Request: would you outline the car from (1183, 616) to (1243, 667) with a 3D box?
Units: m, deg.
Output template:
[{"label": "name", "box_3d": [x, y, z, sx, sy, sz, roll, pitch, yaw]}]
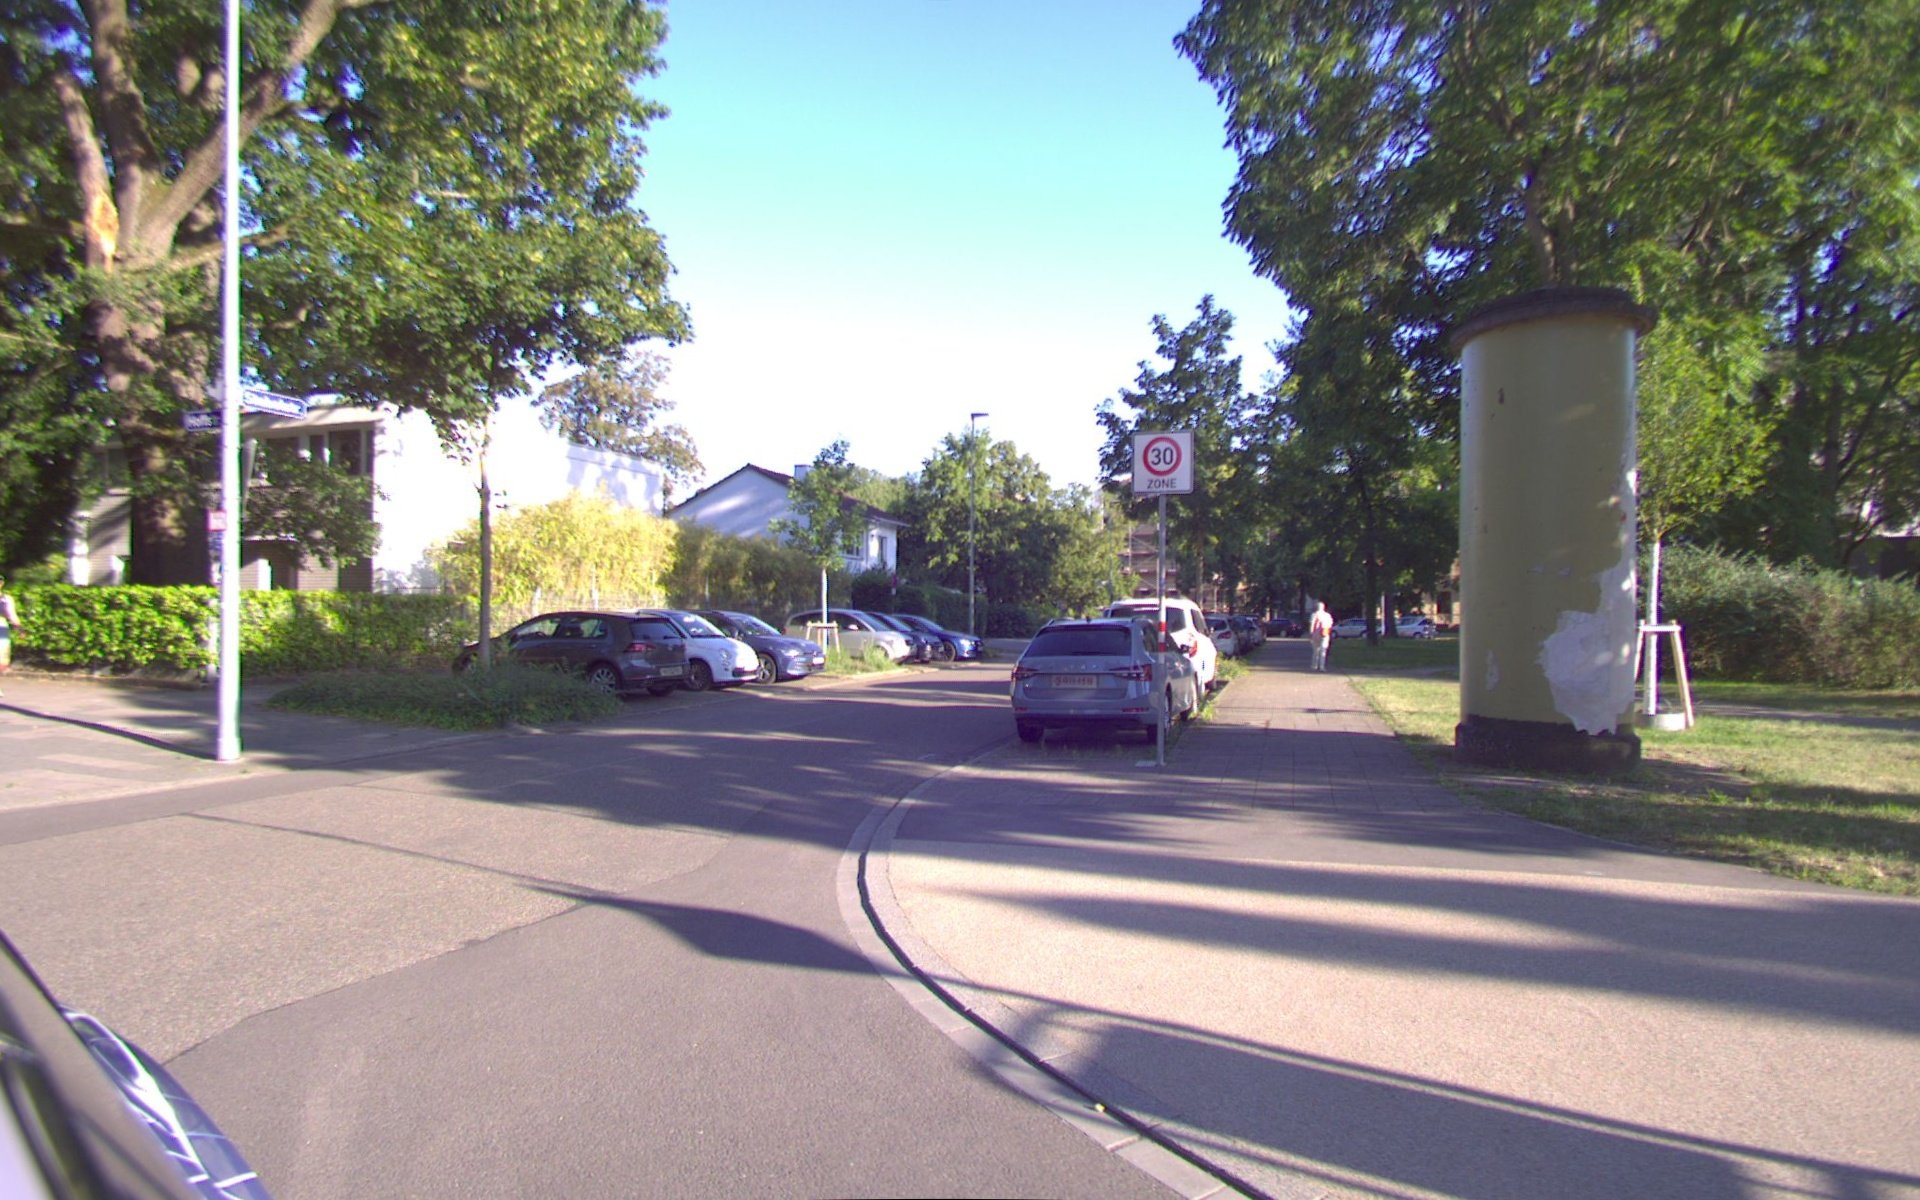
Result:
[{"label": "car", "box_3d": [8.143, 1.284, 32.419, 1.703, 1.520, 3.291, 0, -1, 17]}]

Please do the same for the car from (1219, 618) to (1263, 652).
[{"label": "car", "box_3d": [13.158, 1.599, 47.229, 1.705, 1.520, 3.654, 0, -1, 20]}]

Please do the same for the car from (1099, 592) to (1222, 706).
[{"label": "car", "box_3d": [3.948, 0.869, 19.419, 1.749, 1.931, 4.211, 0, -1, 19]}]

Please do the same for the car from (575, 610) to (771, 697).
[{"label": "car", "box_3d": [-5.575, 0.989, 19.736, 3.328, 1.502, 1.628, 1, -1, 18]}]

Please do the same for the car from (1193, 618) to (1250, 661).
[{"label": "car", "box_3d": [9.712, 1.428, 37.457, 1.705, 1.520, 3.654, 0, -1, 20]}]

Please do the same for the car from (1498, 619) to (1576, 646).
[{"label": "car", "box_3d": [34.137, 1.941, 59.938, 1.647, 1.509, 3.583, 1, -3, -36]}]

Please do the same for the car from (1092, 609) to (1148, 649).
[{"label": "car", "box_3d": [8.177, 1.443, 51.496, 2.045, 1.945, 4.418, 0, -1, 20]}]

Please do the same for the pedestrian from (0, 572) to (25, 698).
[{"label": "pedestrian", "box_3d": [-13.914, 0.501, 14.563, 0.662, 1.788, 0.432, 0, -1, 24]}]

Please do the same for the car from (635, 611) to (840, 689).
[{"label": "car", "box_3d": [-4.852, 1.042, 22.119, 4.070, 1.468, 1.798, 1, -1, 21]}]

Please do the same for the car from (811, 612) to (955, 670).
[{"label": "car", "box_3d": [-2.272, 1.182, 30.133, 3.890, 1.549, 1.735, 1, -1, 17]}]

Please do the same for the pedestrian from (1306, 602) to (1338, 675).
[{"label": "pedestrian", "box_3d": [8.871, 0.928, 24.832, 0.711, 1.750, 0.743, 0, -1, 19]}]

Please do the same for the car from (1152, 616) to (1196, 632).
[{"label": "car", "box_3d": [21.261, 2.352, 100.596, 3.976, 1.586, 1.813, 0, -1, 24]}]

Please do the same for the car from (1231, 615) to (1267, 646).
[{"label": "car", "box_3d": [16.445, 1.715, 57.433, 1.705, 1.696, 3.654, 0, -1, 20]}]

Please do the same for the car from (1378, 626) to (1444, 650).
[{"label": "car", "box_3d": [29.493, 2.468, 66.272, 1.661, 1.509, 3.583, 1, -1, -36]}]

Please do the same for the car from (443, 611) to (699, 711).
[{"label": "car", "box_3d": [-6.643, 0.977, 17.339, 3.968, 1.527, 1.635, 0, -1, 19]}]

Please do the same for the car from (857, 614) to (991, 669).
[{"label": "car", "box_3d": [-1.127, 1.284, 32.139, 3.890, 1.549, 1.735, 1, -1, 17]}]

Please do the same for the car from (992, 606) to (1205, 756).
[{"label": "car", "box_3d": [2.004, 0.894, 13.171, 1.853, 1.570, 4.807, 0, -1, 19]}]

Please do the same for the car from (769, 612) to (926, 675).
[{"label": "car", "box_3d": [-3.072, 1.149, 27.767, 3.890, 1.549, 1.735, 1, -1, 17]}]
